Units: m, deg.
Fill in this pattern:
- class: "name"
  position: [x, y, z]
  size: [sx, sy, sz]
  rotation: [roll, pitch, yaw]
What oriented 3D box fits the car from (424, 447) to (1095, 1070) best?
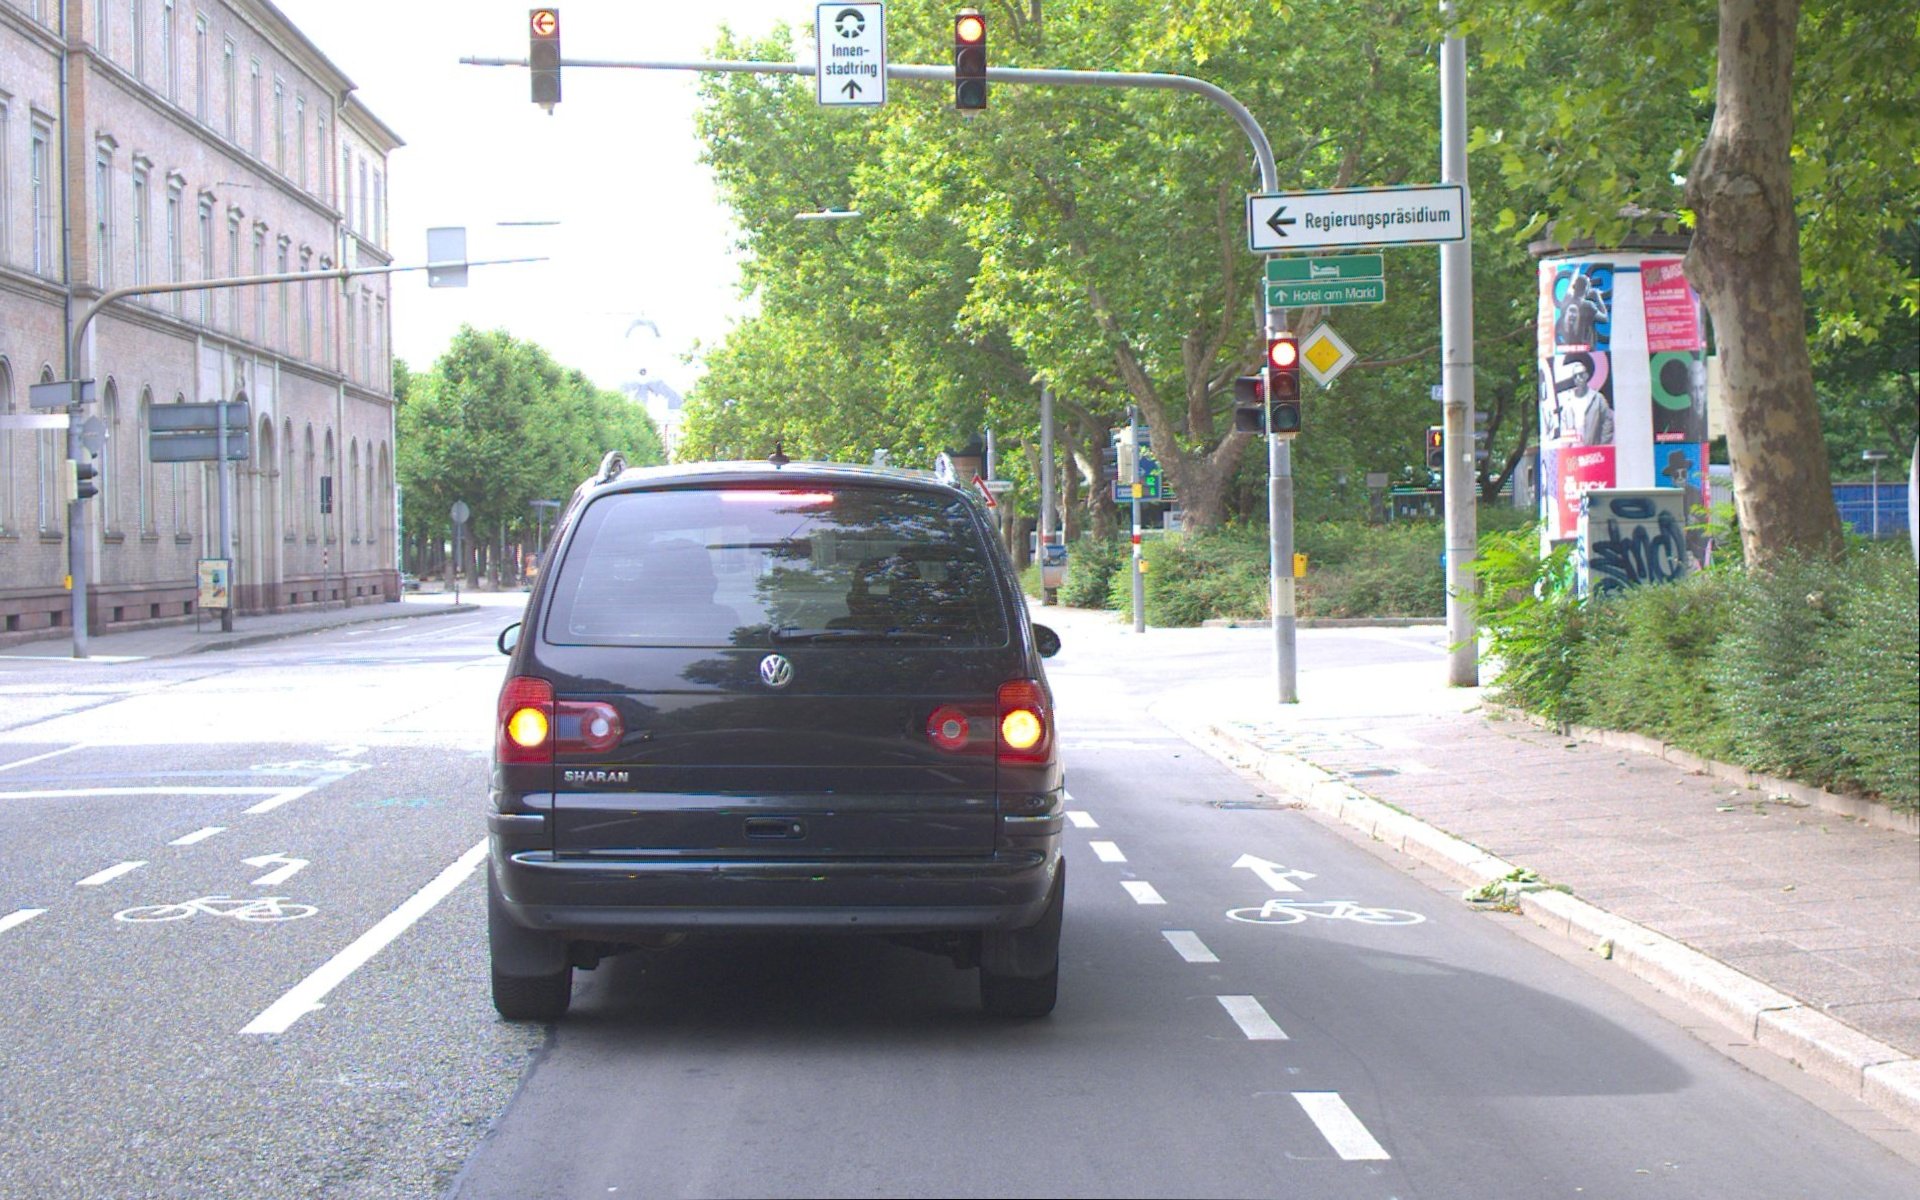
- class: "car"
  position: [-0.550, 0.398, 11.982]
  size: [1.874, 1.739, 4.574]
  rotation: [-1, 1, 0]
